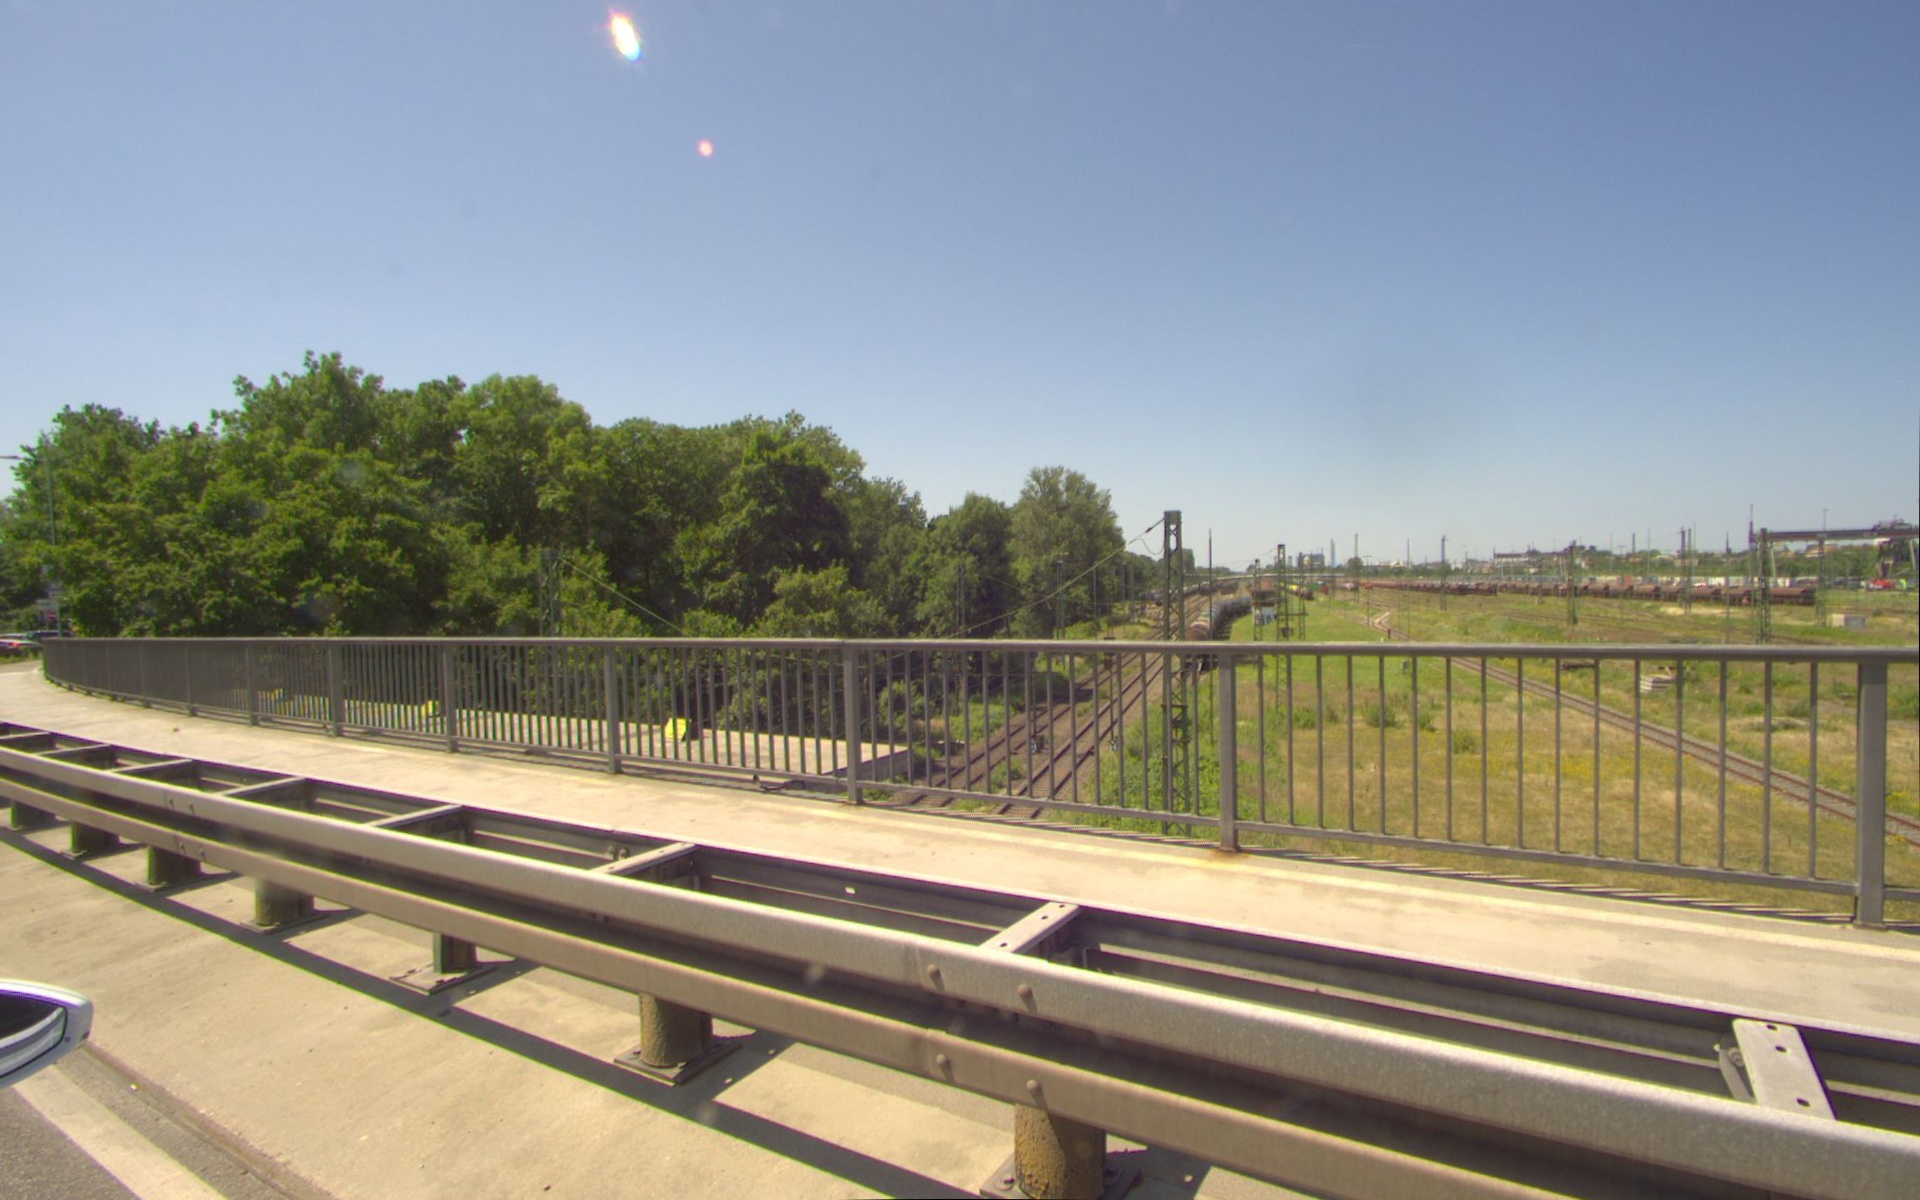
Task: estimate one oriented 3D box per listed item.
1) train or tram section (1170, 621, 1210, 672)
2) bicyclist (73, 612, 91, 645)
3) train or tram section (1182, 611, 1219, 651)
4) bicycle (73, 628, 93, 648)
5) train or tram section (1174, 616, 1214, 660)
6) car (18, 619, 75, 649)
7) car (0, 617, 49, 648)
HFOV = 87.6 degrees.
[{"bbox_3d":[24.647,4.812,106.975,3.781,4.366,13.612,-2,1,14],"label":"train or tram section"},{"bbox_3d":[-47.438,1.531,54.107,0.721,1.706,0.574,0,3,42],"label":"bicyclist"},{"bbox_3d":[32.084,4.011,133.163,3.783,4.366,13.603,-2,1,18],"label":"train or tram section"},{"bbox_3d":[-47.403,2.028,54.114,1.468,1.049,0.578,-1,2,42],"label":"bicycle"},{"bbox_3d":[28.194,4.419,120.157,3.783,4.366,13.605,-2,1,17],"label":"train or tram section"},{"bbox_3d":[-56.313,2.100,61.799,1.666,1.783,3.982,0,-2,-29],"label":"car"},{"bbox_3d":[-52.959,1.832,56.118,1.972,1.594,3.981,2,-4,-31],"label":"car"}]
